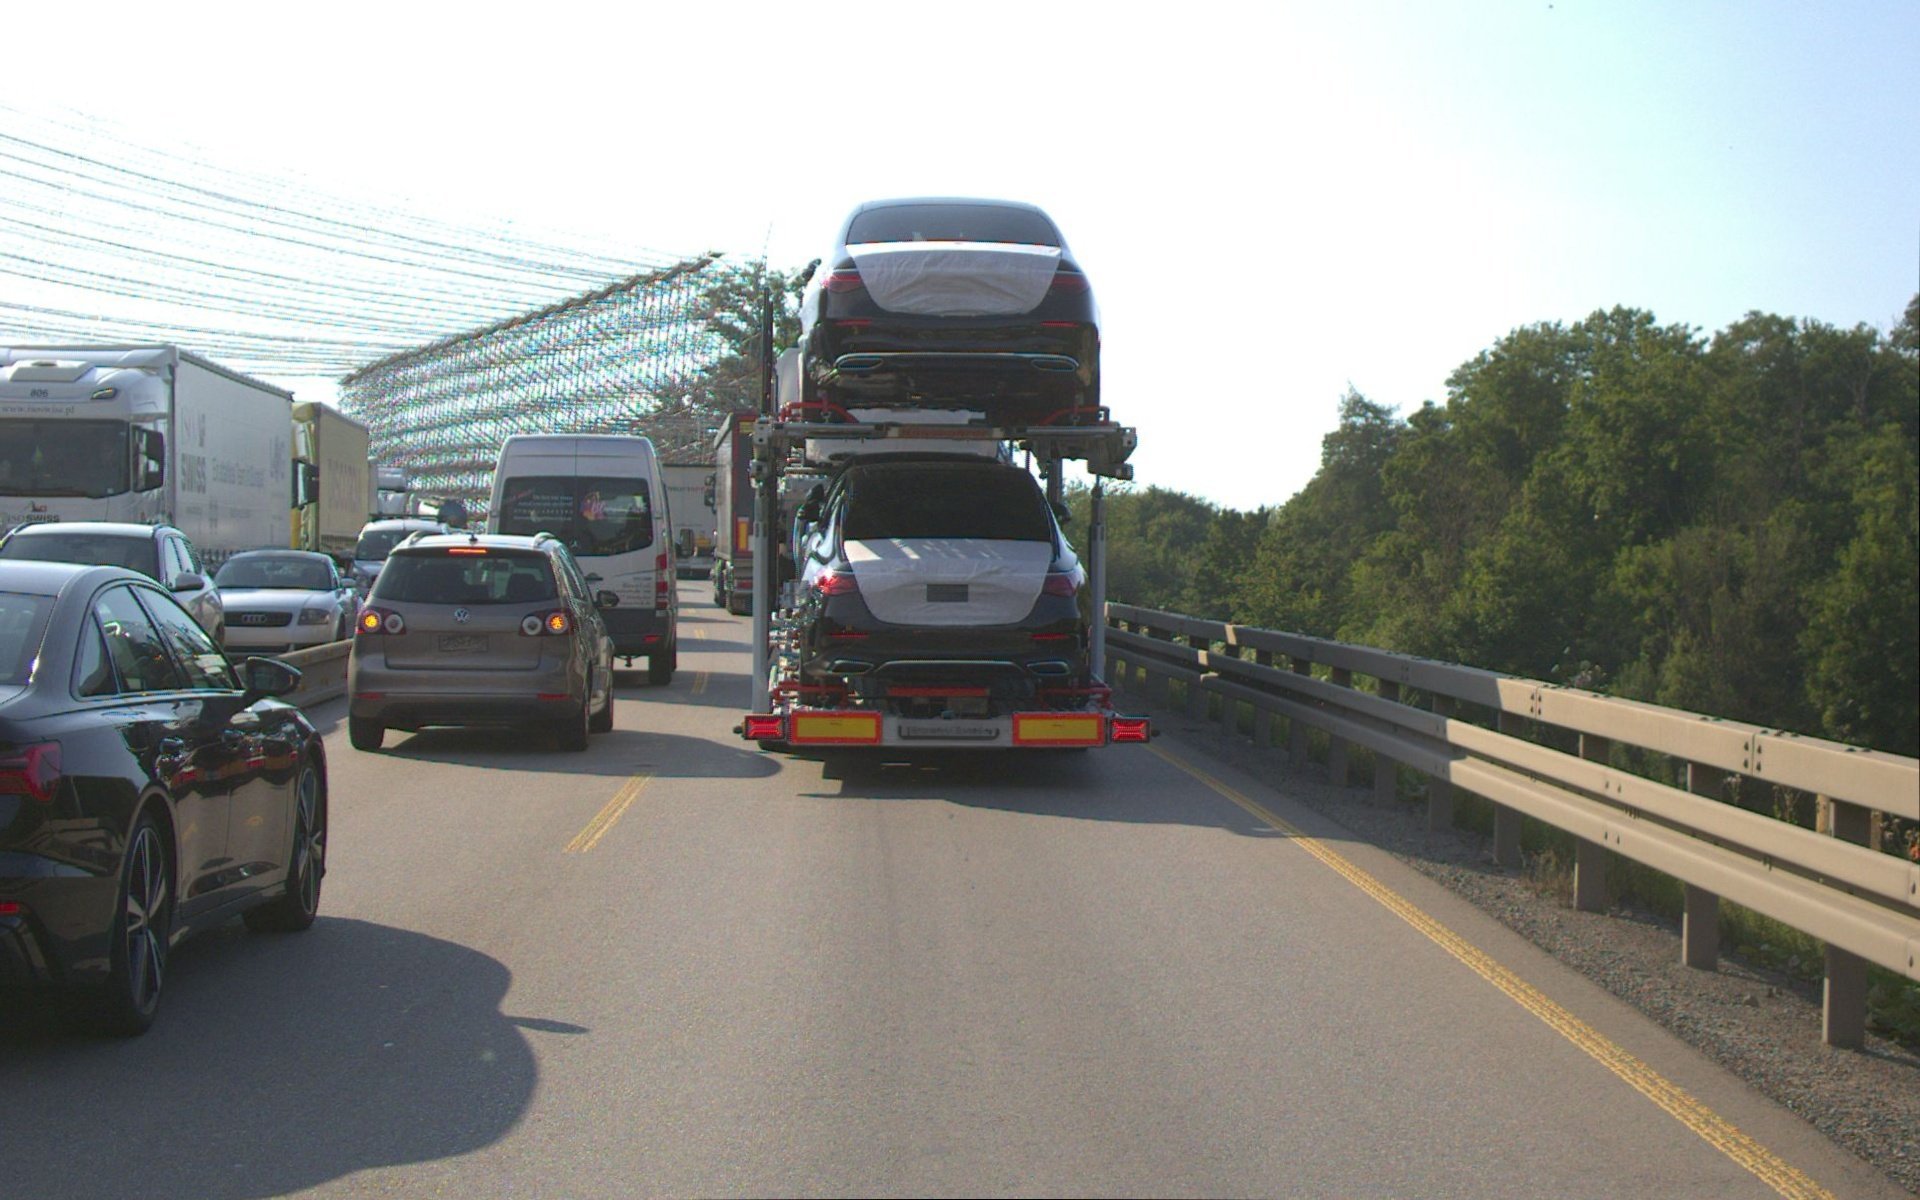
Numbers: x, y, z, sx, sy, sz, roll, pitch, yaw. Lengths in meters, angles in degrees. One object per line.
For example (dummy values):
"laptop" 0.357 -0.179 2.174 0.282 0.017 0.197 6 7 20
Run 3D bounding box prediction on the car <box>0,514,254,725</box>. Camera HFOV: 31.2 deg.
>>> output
"car" -7.350 0.149 29.251 1.846 1.642 4.560 -1 0 -1

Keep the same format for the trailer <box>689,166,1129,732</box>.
"trailer" -0.952 -1.045 31.906 2.874 3.980 15.282 0 0 -5

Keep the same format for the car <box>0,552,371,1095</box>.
"car" -3.459 0.607 11.947 1.940 1.475 5.222 -1 0 0

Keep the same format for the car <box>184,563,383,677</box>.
"car" -7.865 0.215 40.280 1.711 1.248 4.052 -1 0 -3

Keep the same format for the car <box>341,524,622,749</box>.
"car" -3.577 0.262 26.328 1.700 1.581 4.147 0 0 -2

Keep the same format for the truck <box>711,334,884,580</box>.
"truck" -3.527 -2.860 71.465 3.227 4.661 11.697 0 1 -4

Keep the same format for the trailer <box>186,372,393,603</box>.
"trailer" -13.944 -2.133 72.600 2.893 4.379 14.382 0 0 -5

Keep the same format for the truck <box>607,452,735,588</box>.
"truck" -10.583 -2.901 124.716 3.647 4.661 11.699 0 1 -10

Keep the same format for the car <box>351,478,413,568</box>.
"car" -18.363 -2.455 109.379 1.668 2.756 4.961 0 1 -6

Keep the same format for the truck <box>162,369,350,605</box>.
"truck" -13.268 -2.042 65.223 2.893 4.257 5.772 0 0 -5

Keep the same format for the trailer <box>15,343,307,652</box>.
"trailer" -12.140 -1.398 53.363 2.453 4.251 12.147 0 0 -4

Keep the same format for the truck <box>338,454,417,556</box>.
"truck" -23.579 -3.836 139.524 2.640 3.981 9.031 0 1 -6

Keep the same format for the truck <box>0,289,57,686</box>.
"truck" -10.759 -1.152 29.518 2.808 3.956 13.895 3 0 -3

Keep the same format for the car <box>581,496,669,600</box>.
"car" -6.622 -0.995 67.722 1.668 1.978 3.819 0 0 -6

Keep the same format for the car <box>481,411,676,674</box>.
"car" -4.066 -0.584 37.156 1.979 2.675 4.147 0 0 -5

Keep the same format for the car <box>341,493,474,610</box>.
"car" -9.369 -0.850 58.594 1.832 1.910 4.866 0 1 -5

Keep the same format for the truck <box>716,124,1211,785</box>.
"truck" -0.176 -0.870 23.656 2.869 3.966 5.772 0 0 -5

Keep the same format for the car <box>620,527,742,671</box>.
"car" -3.991 -0.014 49.255 1.668 1.978 3.818 0 0 -4

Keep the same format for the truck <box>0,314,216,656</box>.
"truck" -11.670 -1.426 45.975 2.443 4.257 6.322 0 0 -4
